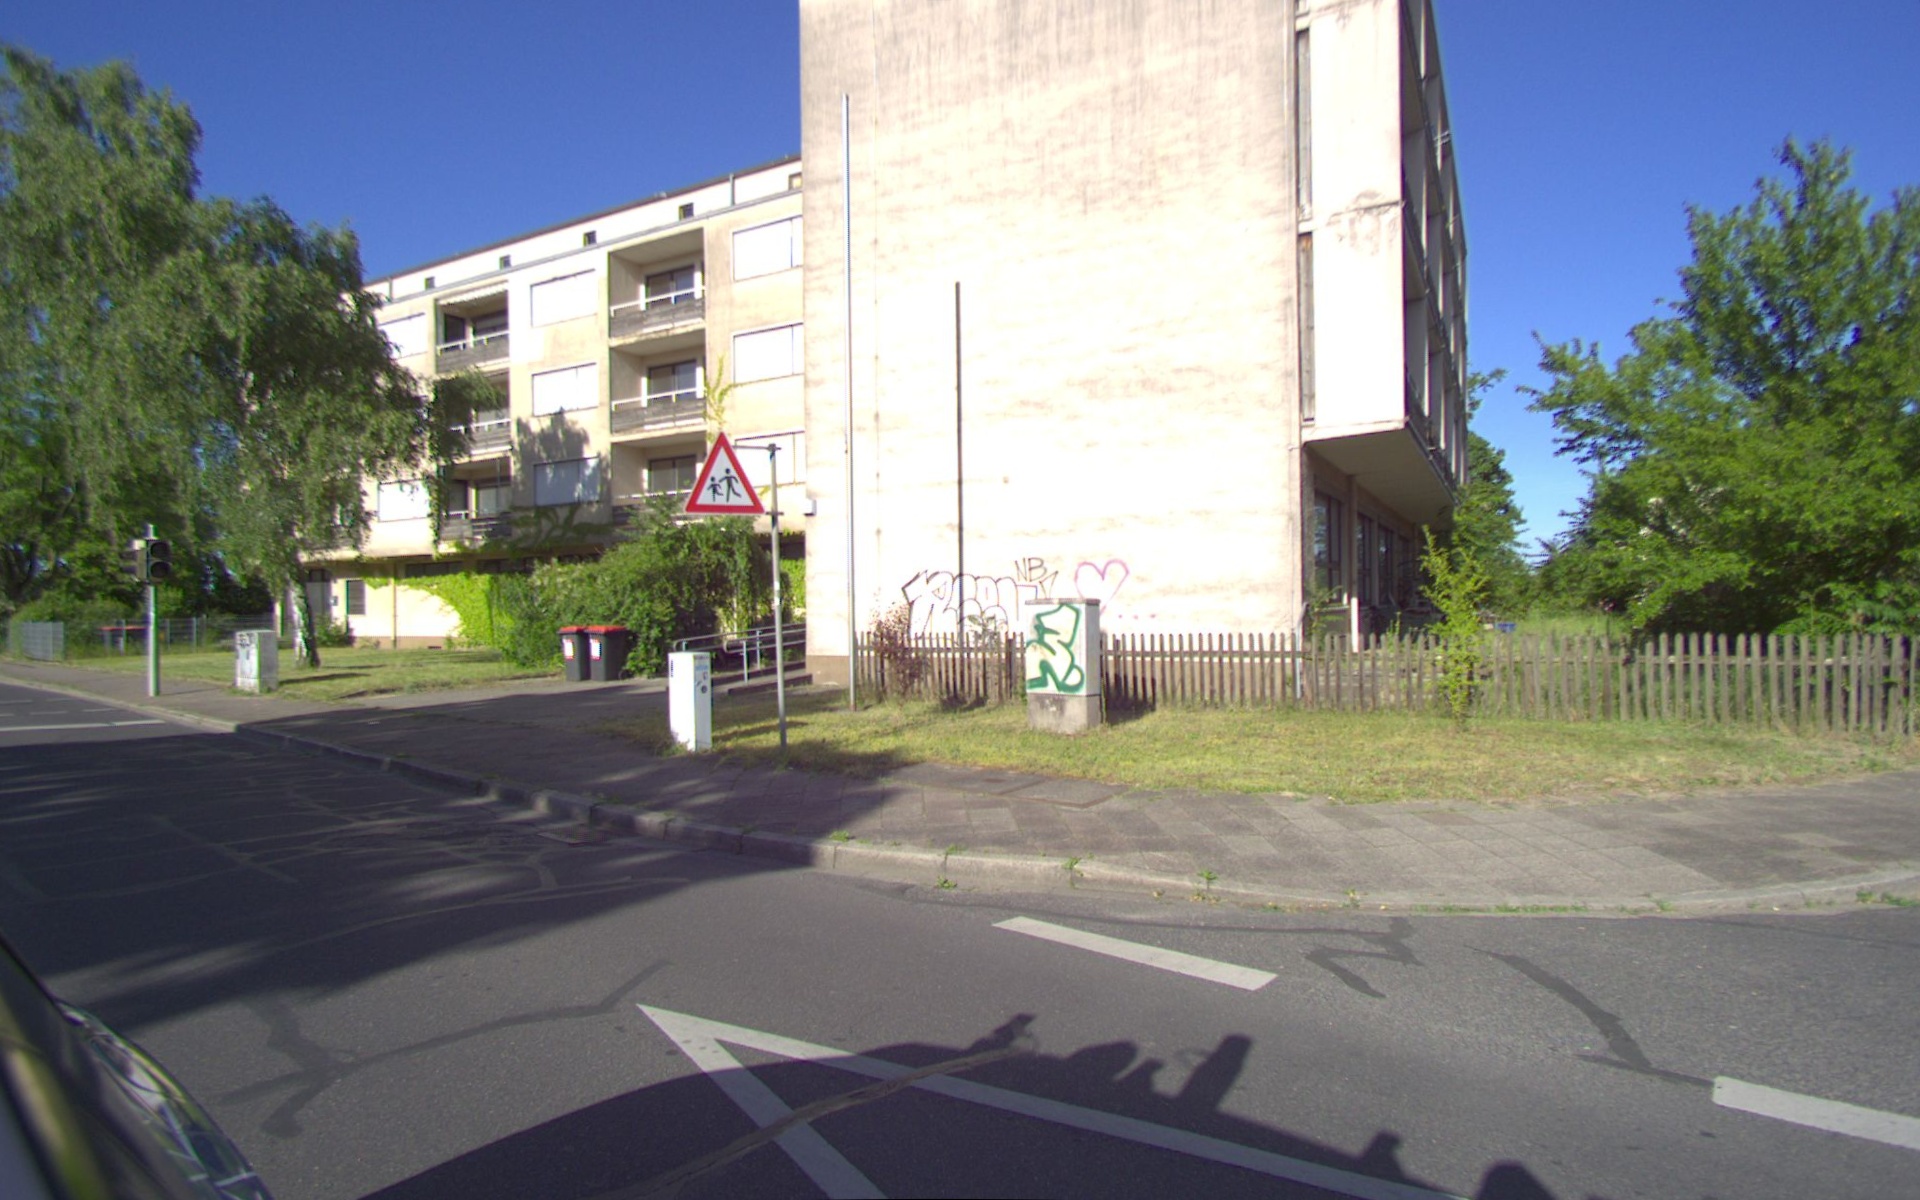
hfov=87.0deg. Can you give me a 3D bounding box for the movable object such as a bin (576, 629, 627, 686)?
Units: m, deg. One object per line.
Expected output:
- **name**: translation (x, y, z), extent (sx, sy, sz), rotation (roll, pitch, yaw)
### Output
- **movable object such as a bin**: translation (-6.925, 1.095, 19.550), extent (0.697, 1.056, 0.625), rotation (-1, -1, 17)

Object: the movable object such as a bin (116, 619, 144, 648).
- **movable object such as a bin**: translation (-30.015, 1.221, 36.593), extent (0.709, 1.032, 0.616), rotation (-1, -1, 33)

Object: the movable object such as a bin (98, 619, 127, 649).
- **movable object such as a bin**: translation (-30.280, 1.211, 36.153), extent (0.709, 1.032, 0.616), rotation (-1, -1, 33)

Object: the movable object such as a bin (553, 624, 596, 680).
- **movable object such as a bin**: translation (-7.525, 1.000, 19.773), extent (0.552, 1.061, 0.561), rotation (-1, -1, 18)
